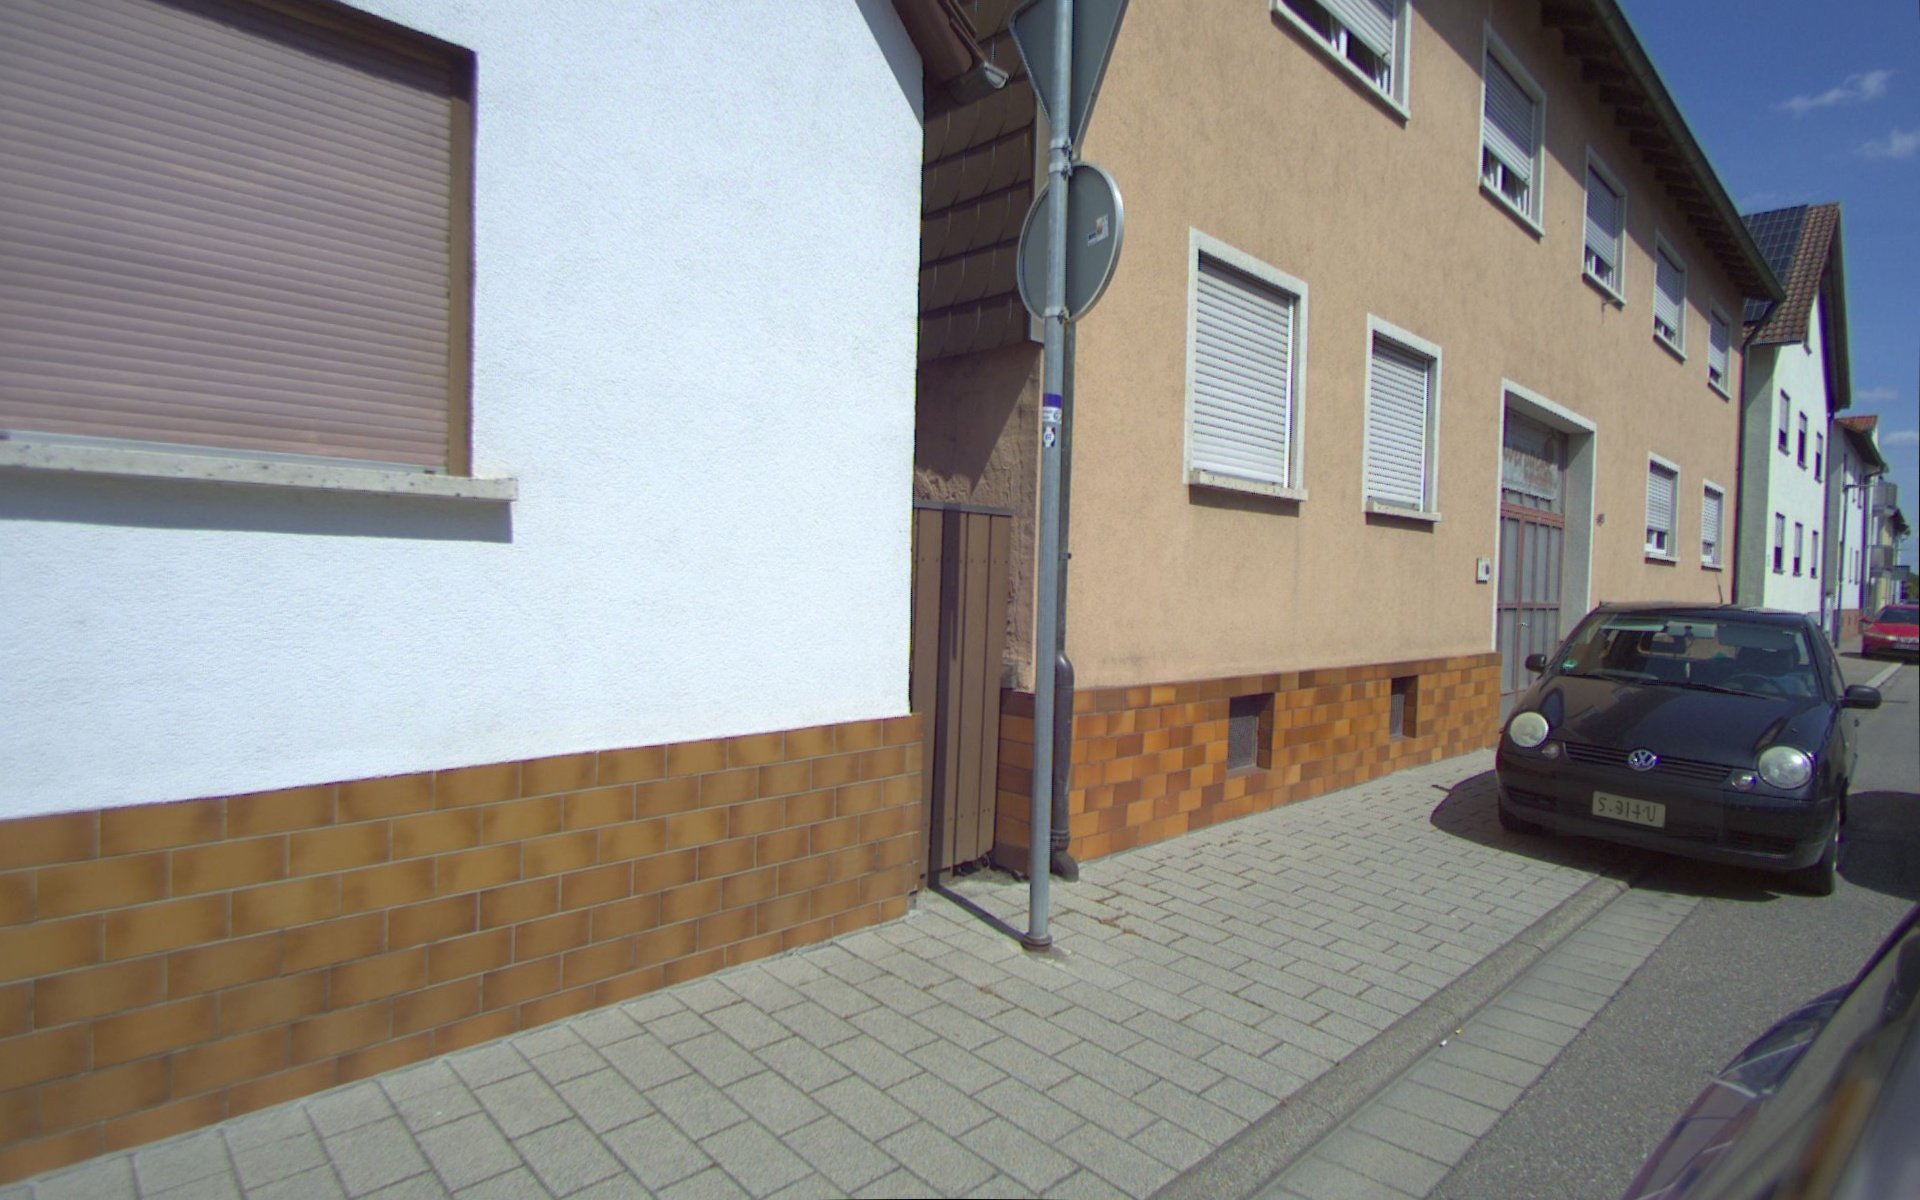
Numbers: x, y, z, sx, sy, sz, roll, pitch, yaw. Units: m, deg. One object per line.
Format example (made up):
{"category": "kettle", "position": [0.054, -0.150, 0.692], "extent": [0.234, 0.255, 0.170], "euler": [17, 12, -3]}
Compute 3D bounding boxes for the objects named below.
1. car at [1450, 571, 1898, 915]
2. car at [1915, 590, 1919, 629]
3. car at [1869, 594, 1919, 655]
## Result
{"category": "car", "position": [4.702, 0.645, 6.462], "extent": [1.687, 1.481, 3.570], "euler": [6, 4, 45]}
{"category": "car", "position": [37.200, 0.400, 38.034], "extent": [1.761, 1.446, 4.121], "euler": [3, 2, 45]}
{"category": "car", "position": [25.005, 0.625, 26.330], "extent": [1.761, 1.446, 4.121], "euler": [3, 2, 45]}
